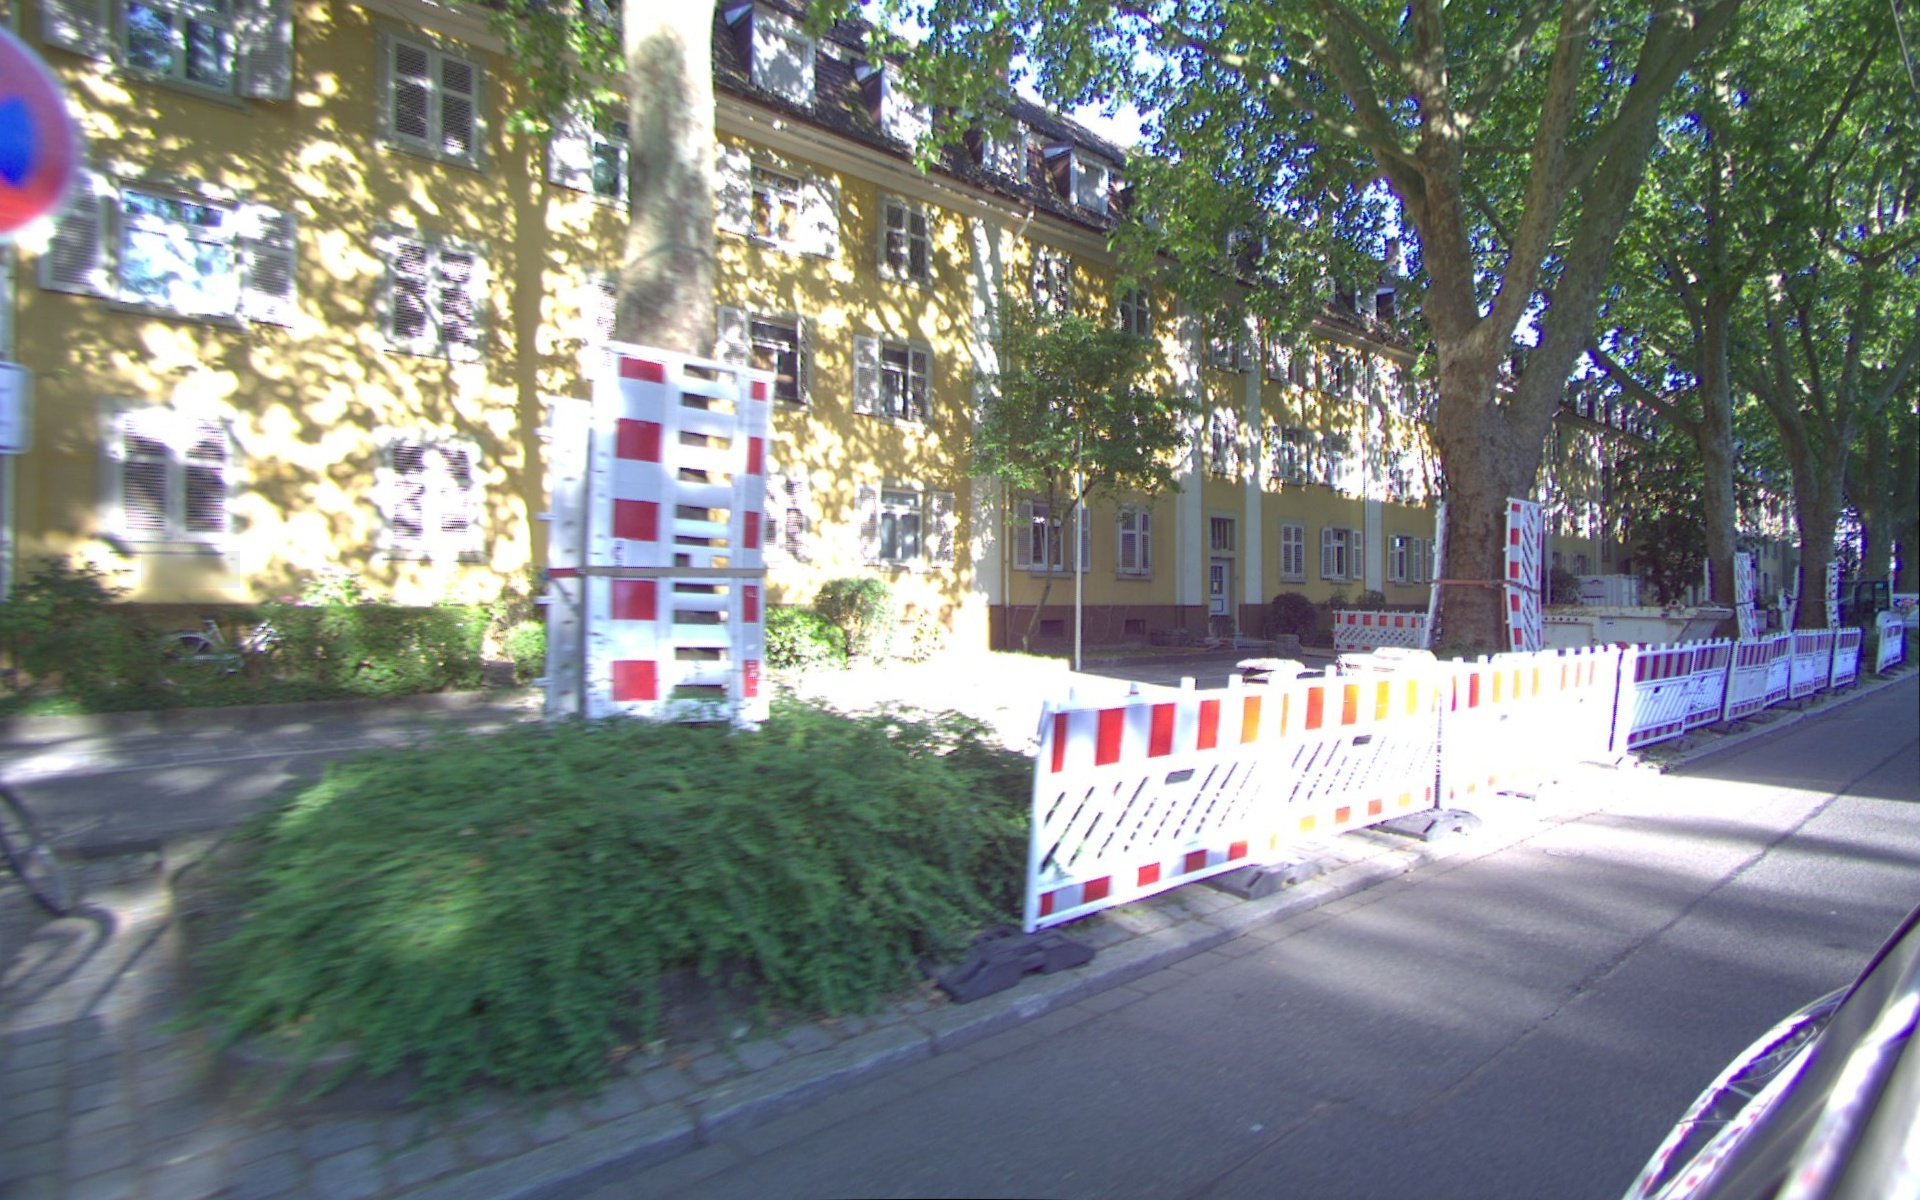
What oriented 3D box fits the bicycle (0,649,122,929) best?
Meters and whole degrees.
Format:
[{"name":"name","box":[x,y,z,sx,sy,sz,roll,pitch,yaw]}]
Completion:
[{"name":"bicycle","box":[-4.791,0.839,4.276,1.914,1.169,0.692,0,0,-41]}]

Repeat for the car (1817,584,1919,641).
[{"name":"car","box":[34.683,0.442,37.011,2.027,2.039,4.843,1,0,-40]}]

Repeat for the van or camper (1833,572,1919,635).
[{"name":"van or camper","box":[41.630,0.133,43.468,2.229,2.662,5.940,-1,1,-38]}]

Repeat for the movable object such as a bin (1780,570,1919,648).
[{"name":"movable object such as a bin","box":[27.009,0.262,30.706,3.210,2.298,1.488,0,0,-7]}]

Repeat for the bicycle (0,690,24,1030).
[{"name":"bicycle","box":[-4.053,0.890,3.048,1.777,1.084,0.636,0,0,-41]}]

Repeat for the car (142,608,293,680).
[{"name":"car","box":[-9.511,0.550,13.003,1.546,0.863,0.445,0,-2,-40]}]
